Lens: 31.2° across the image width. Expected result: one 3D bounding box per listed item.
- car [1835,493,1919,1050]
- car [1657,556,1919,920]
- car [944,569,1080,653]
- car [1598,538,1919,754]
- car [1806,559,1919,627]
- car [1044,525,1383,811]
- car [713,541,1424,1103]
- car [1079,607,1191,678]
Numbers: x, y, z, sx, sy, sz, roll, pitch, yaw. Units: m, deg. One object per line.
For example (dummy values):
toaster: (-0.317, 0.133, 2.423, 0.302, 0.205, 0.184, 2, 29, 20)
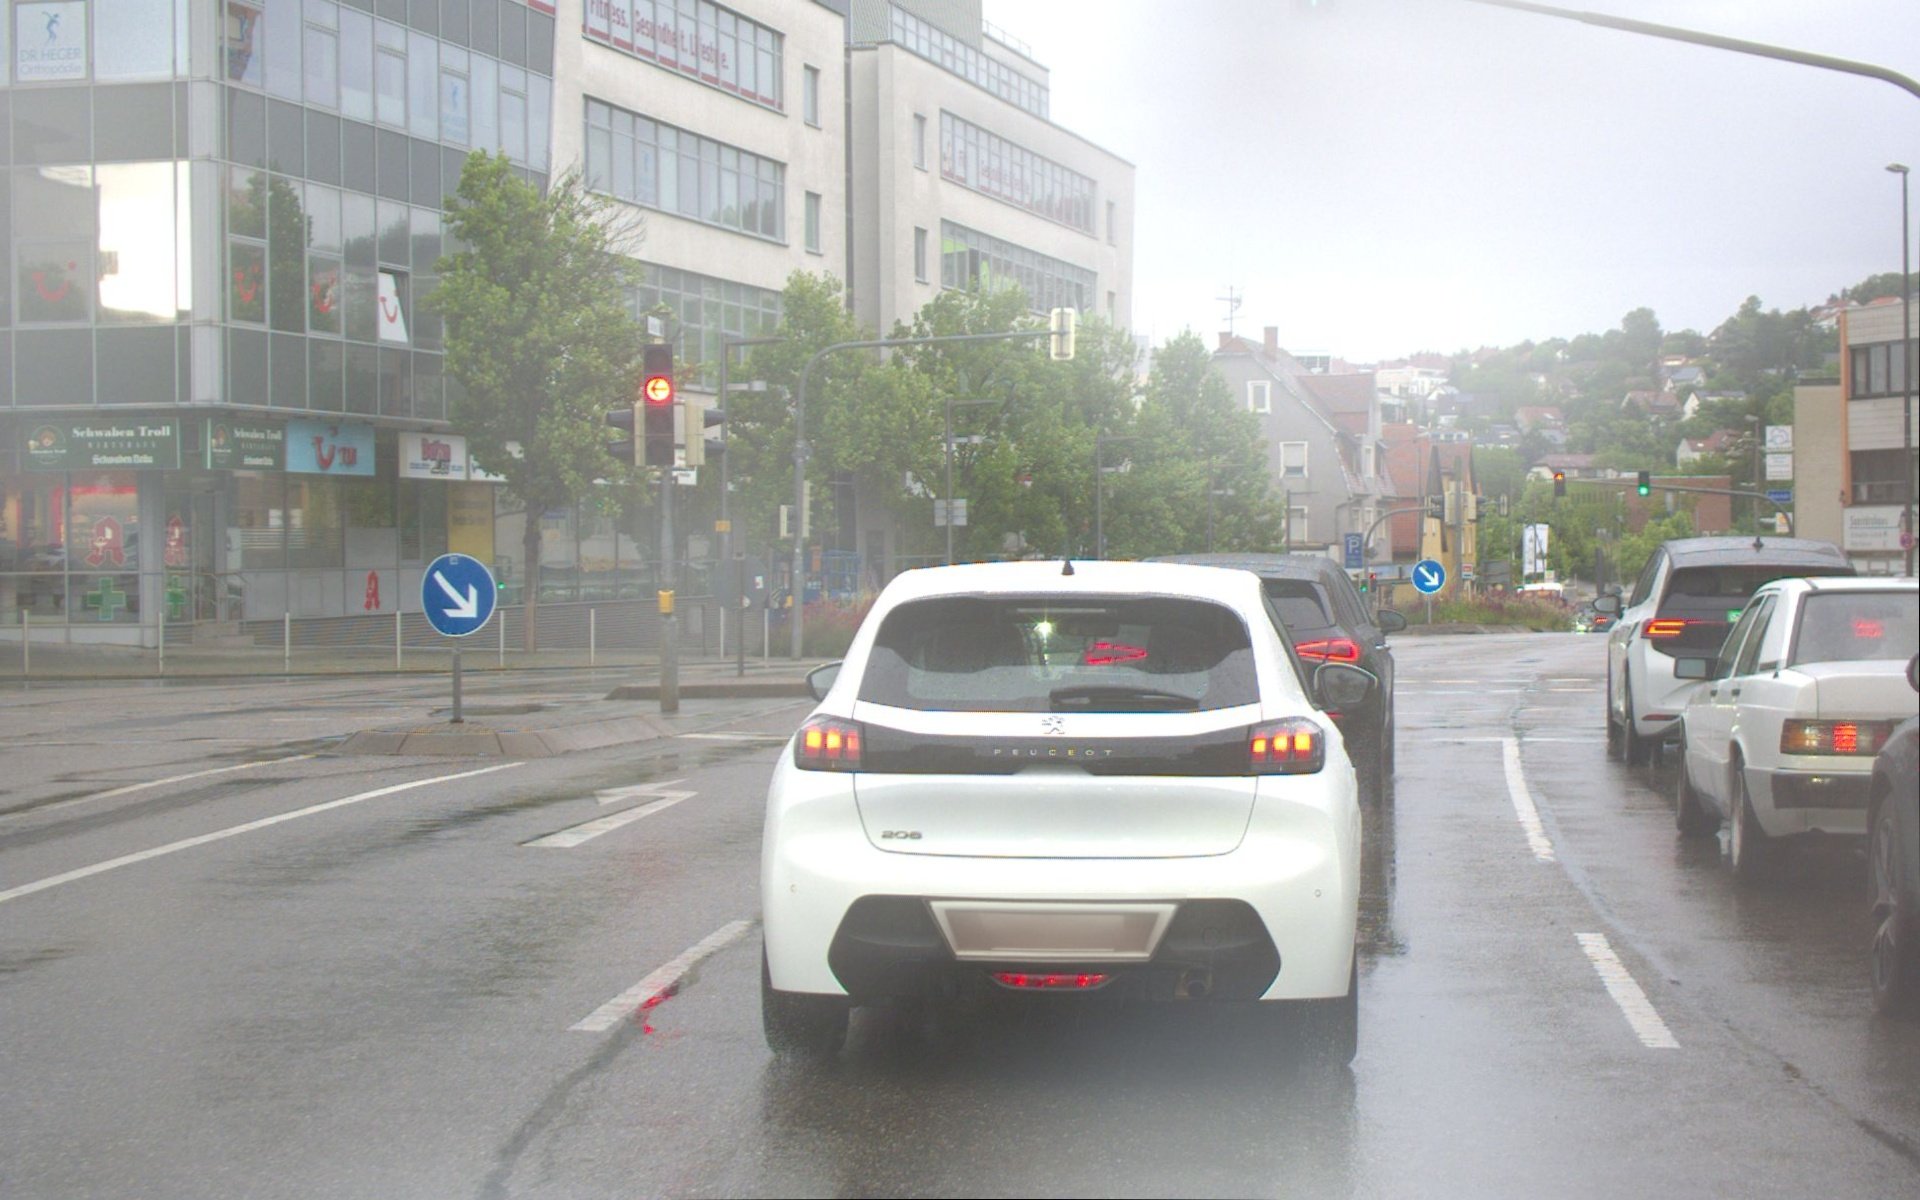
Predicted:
car: (3.680, 0.521, 9.160, 1.901, 1.615, 4.335, 1, 1, 5)
car: (4.260, 0.540, 15.894, 1.634, 1.443, 4.268, 1, 1, 6)
car: (1.127, 0.207, 71.865, 1.921, 1.626, 4.900, 1, 1, 12)
car: (5.531, 0.286, 24.027, 1.912, 1.395, 3.457, 0, 0, 7)
car: (30.609, -0.242, 114.882, 1.993, 2.219, 4.977, -1, 0, -22)
car: (1.597, 0.338, 20.520, 1.816, 1.524, 3.811, 1, 1, 7)
car: (0.431, 0.556, 11.068, 1.872, 1.457, 3.872, 1, 1, 4)
car: (4.380, 1.045, 85.459, 1.775, 1.588, 4.585, -4, -1, 15)
